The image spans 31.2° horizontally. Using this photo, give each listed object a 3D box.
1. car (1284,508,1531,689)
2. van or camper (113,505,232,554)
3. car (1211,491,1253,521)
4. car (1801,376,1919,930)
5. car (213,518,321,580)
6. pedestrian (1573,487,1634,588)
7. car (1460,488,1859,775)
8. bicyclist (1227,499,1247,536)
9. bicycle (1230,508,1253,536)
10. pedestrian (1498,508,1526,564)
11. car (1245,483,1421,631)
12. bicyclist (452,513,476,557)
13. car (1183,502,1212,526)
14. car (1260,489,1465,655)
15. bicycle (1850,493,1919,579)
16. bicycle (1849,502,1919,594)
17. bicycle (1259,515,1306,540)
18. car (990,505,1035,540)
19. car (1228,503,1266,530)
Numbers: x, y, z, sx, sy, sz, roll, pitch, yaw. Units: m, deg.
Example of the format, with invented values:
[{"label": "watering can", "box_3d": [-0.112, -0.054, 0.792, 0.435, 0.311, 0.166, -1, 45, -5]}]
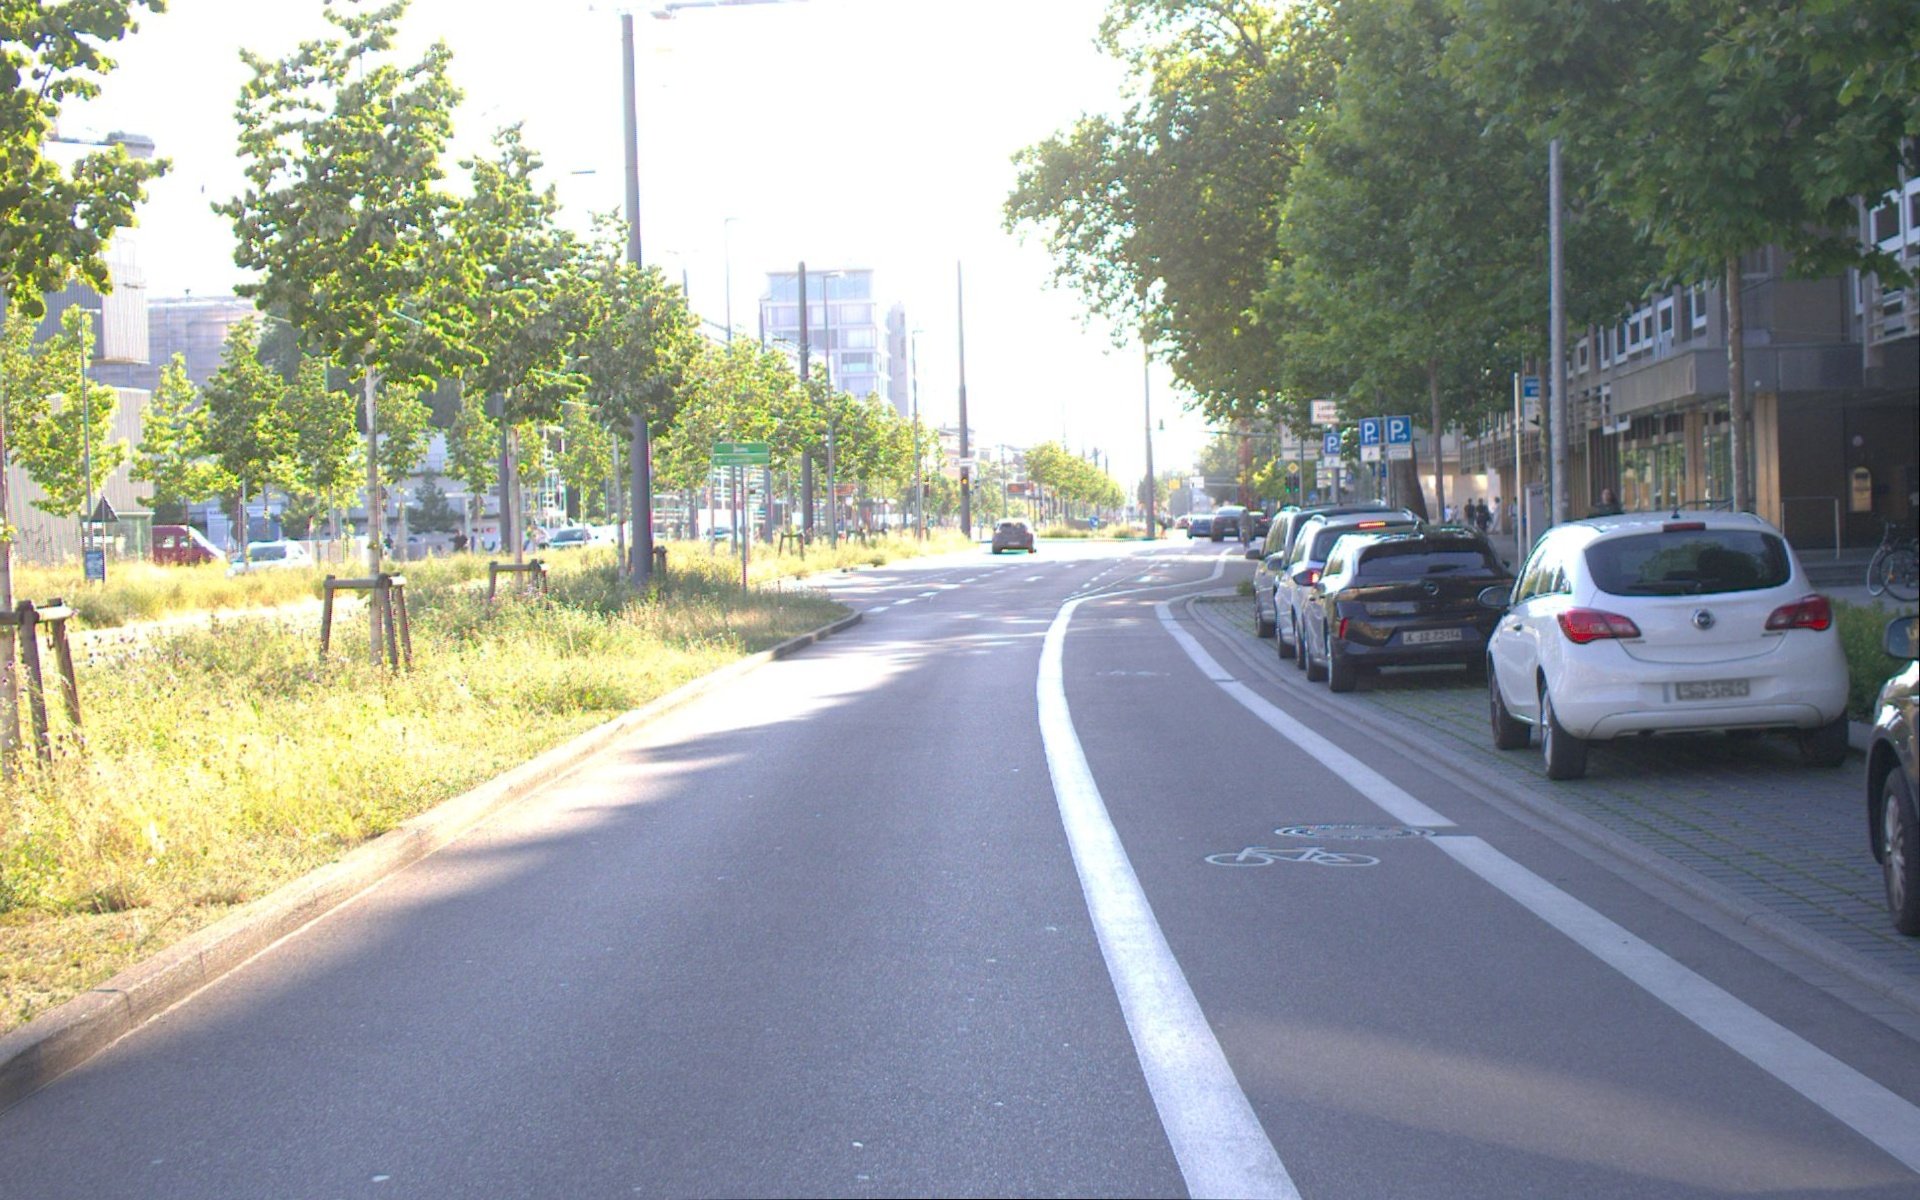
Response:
[{"label": "car", "box_3d": [4.081, -0.072, 31.981, 1.794, 1.444, 4.376, -3, 2, 2]}, {"label": "van or camper", "box_3d": [-41.315, -3.707, 180.460, 5.661, 2.406, 2.154, -1, 2, 6]}, {"label": "car", "box_3d": [13.848, -4.801, 175.188, 1.940, 1.423, 3.925, -1, 2, 3]}, {"label": "car", "box_3d": [4.156, 0.169, 10.959, 1.734, 1.912, 4.394, -3, 2, -1]}, {"label": "car", "box_3d": [-19.231, -1.437, 95.600, 1.994, 1.637, 4.167, -1, 2, 2]}, {"label": "pedestrian", "box_3d": [10.726, -1.050, 57.367, 0.789, 1.642, 1.137, -2, 1, 3]}, {"label": "car", "box_3d": [4.137, 0.106, 20.933, 1.664, 1.484, 4.204, -3, 2, 2]}, {"label": "bicyclist", "box_3d": [12.028, -3.598, 149.312, 0.800, 1.596, 0.785, -1, 2, -1]}, {"label": "bicycle", "box_3d": [12.225, -3.402, 149.445, 0.799, 1.200, 2.264, -1, 2, 0]}, {"label": "pedestrian", "box_3d": [18.365, -2.141, 114.363, 0.831, 1.849, 0.847, -1, 1, 4]}, {"label": "car", "box_3d": [4.665, -0.584, 43.565, 1.728, 1.682, 4.515, -3, 2, 1]}, {"label": "bicyclist", "box_3d": [-19.428, -2.563, 134.700, 0.688, 1.702, 0.954, -1, 2, 4]}, {"label": "car", "box_3d": [15.161, -5.495, 219.704, 1.759, 1.479, 3.850, -1, 1, 3]}, {"label": "car", "box_3d": [4.346, -0.352, 37.635, 1.728, 1.616, 4.216, -3, 2, 1]}, {"label": "bicycle", "box_3d": [12.395, -0.843, 44.481, 1.627, 1.078, 0.392, -2, 1, 4]}, {"label": "bicycle", "box_3d": [11.914, -0.666, 42.159, 1.899, 1.089, 0.392, -3, 1, -3]}, {"label": "bicycle", "box_3d": [12.265, -2.748, 130.779, 1.693, 0.864, 0.572, -3, 1, 13]}, {"label": "car", "box_3d": [2.230, -3.295, 145.476, 1.777, 1.423, 4.000, 0, 2, 2]}, {"label": "car", "box_3d": [16.047, -4.679, 192.199, 1.940, 1.479, 3.925, -1, 2, 3]}]
